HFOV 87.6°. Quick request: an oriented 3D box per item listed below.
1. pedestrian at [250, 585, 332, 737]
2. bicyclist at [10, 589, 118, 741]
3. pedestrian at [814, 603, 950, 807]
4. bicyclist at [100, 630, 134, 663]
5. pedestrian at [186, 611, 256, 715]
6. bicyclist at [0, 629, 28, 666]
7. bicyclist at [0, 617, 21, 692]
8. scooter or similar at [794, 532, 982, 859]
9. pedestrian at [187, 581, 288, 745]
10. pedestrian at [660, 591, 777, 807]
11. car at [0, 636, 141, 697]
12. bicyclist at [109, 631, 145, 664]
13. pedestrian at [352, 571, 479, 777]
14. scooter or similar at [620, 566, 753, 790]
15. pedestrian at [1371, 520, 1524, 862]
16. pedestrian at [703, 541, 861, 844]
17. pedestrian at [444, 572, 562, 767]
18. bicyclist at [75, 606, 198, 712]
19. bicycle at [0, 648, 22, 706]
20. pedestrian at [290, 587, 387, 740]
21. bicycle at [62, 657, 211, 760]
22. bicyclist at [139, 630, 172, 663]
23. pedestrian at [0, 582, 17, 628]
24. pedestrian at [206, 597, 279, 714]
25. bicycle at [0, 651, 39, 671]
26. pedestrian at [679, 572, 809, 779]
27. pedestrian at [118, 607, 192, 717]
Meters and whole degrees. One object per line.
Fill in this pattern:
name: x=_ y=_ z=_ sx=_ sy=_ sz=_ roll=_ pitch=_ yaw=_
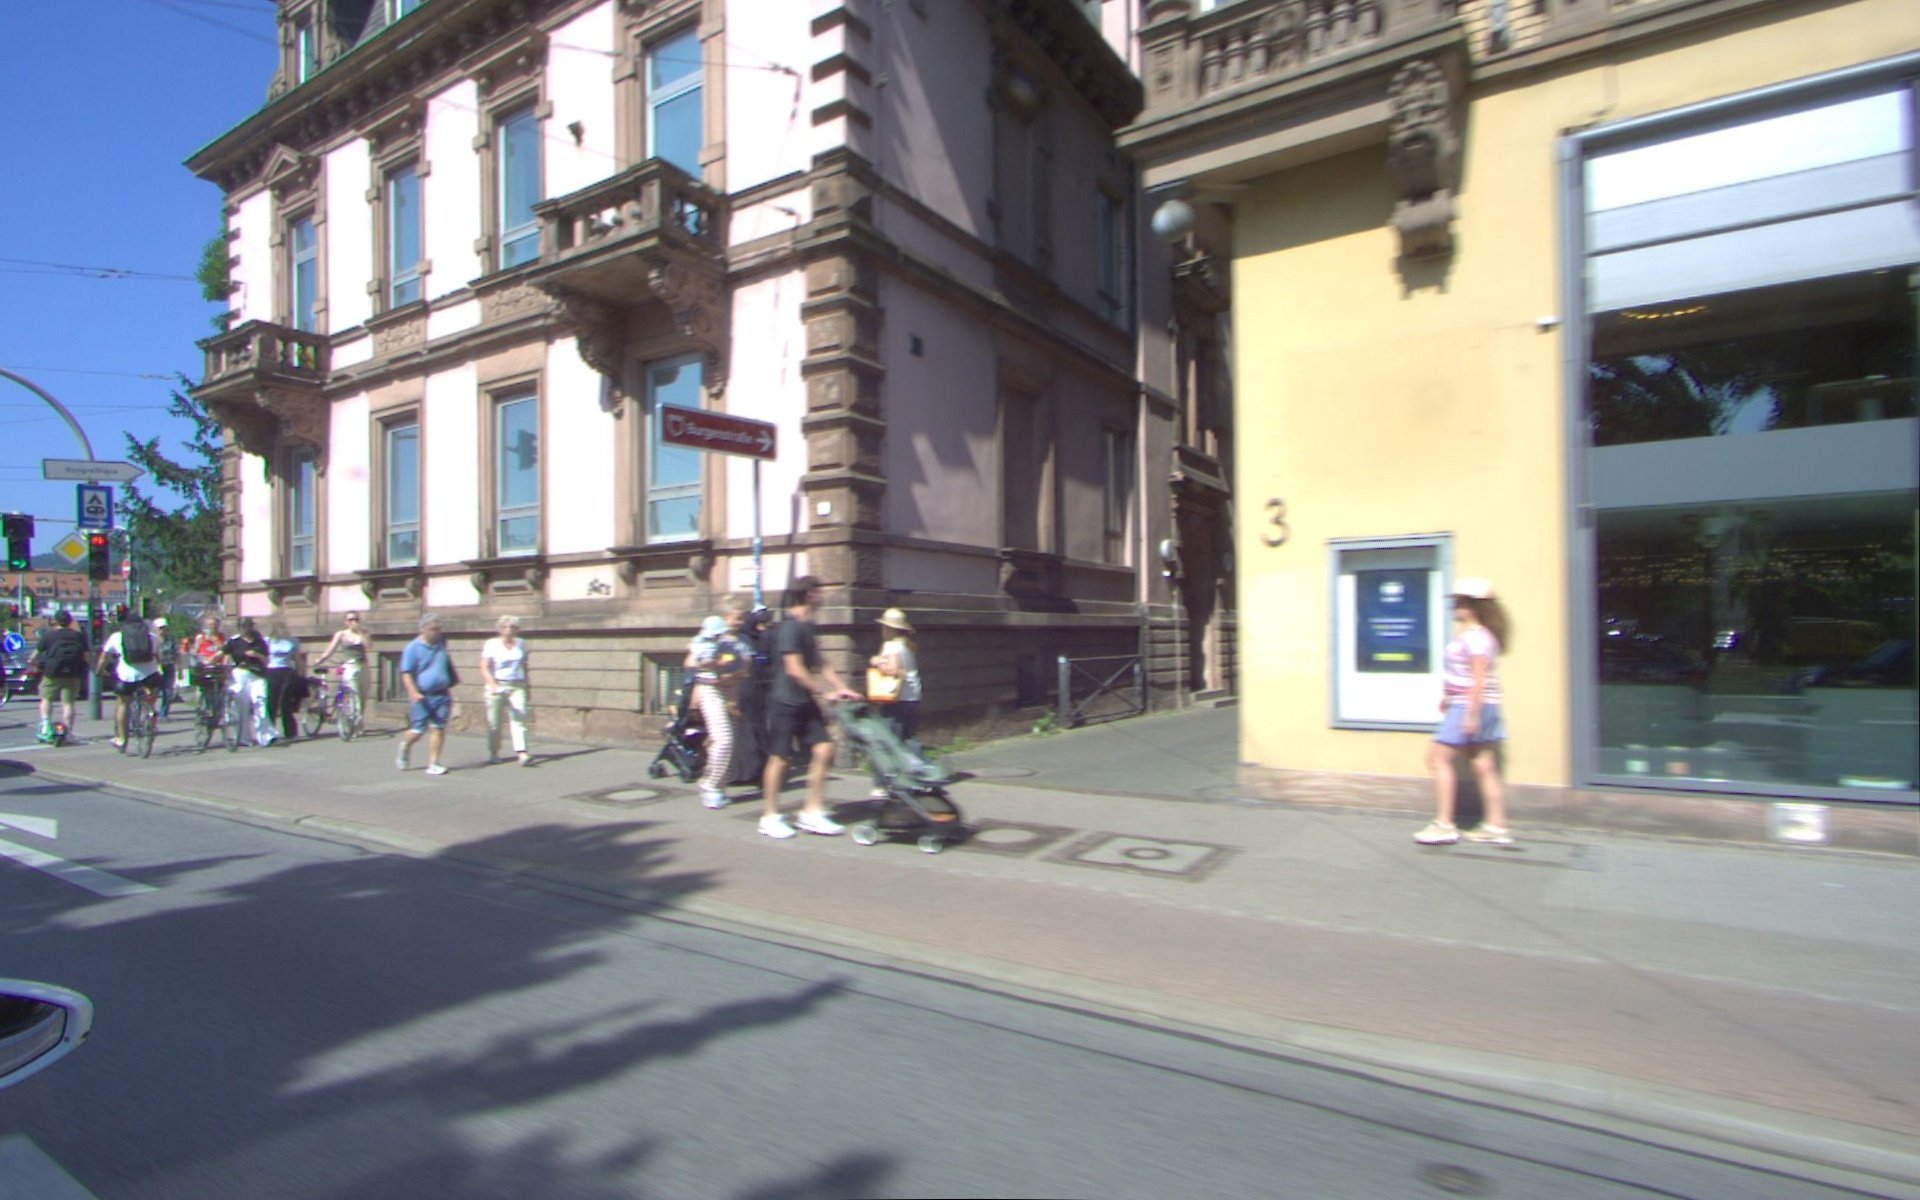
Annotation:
pedestrian: x=-9.305 y=0.824 z=13.938 sx=0.689 sy=2.041 sz=0.658 roll=0 pitch=2 yaw=32
bicyclist: x=-12.531 y=0.884 z=14.014 sx=0.818 sy=2.040 sz=0.940 roll=-1 pitch=0 yaw=32
pedestrian: x=-0.657 y=0.853 z=8.583 sx=0.803 sy=1.624 sz=0.810 roll=-1 pitch=2 yaw=32
bicyclist: x=-38.862 y=2.156 z=46.162 sx=0.918 sy=1.492 sz=1.074 roll=-1 pitch=-3 yaw=44
pedestrian: x=-13.022 y=1.100 z=17.643 sx=0.890 sy=1.775 sz=0.704 roll=-2 pitch=-1 yaw=31
bicyclist: x=-39.515 y=1.973 z=41.596 sx=0.791 sy=1.492 sz=1.075 roll=-1 pitch=-3 yaw=42
bicyclist: x=-20.546 y=1.157 z=21.277 sx=1.048 sy=1.573 sz=0.771 roll=-1 pitch=-1 yaw=41
scooter or similar: x=-0.491 y=0.609 z=6.823 sx=1.080 sy=2.040 sz=0.691 roll=-1 pitch=0 yaw=32
pedestrian: x=-9.360 y=0.795 z=12.984 sx=0.803 sy=2.040 sz=0.810 roll=-1 pitch=0 yaw=32
pedestrian: x=-2.026 y=0.801 z=8.411 sx=0.620 sy=1.716 sz=0.703 roll=-2 pitch=-1 yaw=35
car: x=-23.696 y=1.699 z=26.096 sx=1.963 sy=1.454 sz=3.999 roll=1 pitch=-3 yaw=-12
bicyclist: x=-38.103 y=2.163 z=45.810 sx=1.068 sy=1.492 sz=0.758 roll=2 pitch=-2 yaw=-29
pedestrian: x=-5.672 y=0.729 z=10.452 sx=0.803 sy=2.041 sz=0.810 roll=-1 pitch=2 yaw=32
scooter or similar: x=-2.649 y=0.723 z=9.697 sx=1.080 sy=2.040 sz=0.691 roll=-1 pitch=0 yaw=32
pedestrian: x=3.179 y=0.542 z=6.507 sx=0.803 sy=2.041 sz=0.810 roll=-1 pitch=2 yaw=32
pedestrian: x=-1.283 y=0.635 z=7.289 sx=0.803 sy=2.040 sz=0.810 roll=-1 pitch=-1 yaw=32
pedestrian: x=-5.007 y=0.724 z=10.997 sx=0.803 sy=2.041 sz=0.810 roll=-1 pitch=2 yaw=32
bicyclist: x=-10.131 y=0.698 z=12.326 sx=0.958 sy=1.235 sz=0.919 roll=-1 pitch=-1 yaw=32
bicycle: x=-20.684 y=1.616 z=21.370 sx=2.221 sy=1.179 sz=0.613 roll=-1 pitch=-2 yaw=38
pedestrian: x=-8.673 y=0.855 z=13.983 sx=0.803 sy=2.041 sz=0.810 roll=-1 pitch=2 yaw=32
bicycle: x=-10.154 y=1.292 z=12.330 sx=2.107 sy=1.117 sz=0.777 roll=-1 pitch=-1 yaw=31
bicyclist: x=-37.590 y=2.179 z=46.777 sx=1.073 sy=1.492 sz=0.919 roll=3 pitch=-3 yaw=-44
pedestrian: x=-40.224 y=0.216 z=42.082 sx=0.637 sy=1.879 sz=0.770 roll=0 pitch=-2 yaw=40
pedestrian: x=-12.040 y=0.924 z=16.810 sx=0.890 sy=1.915 sz=0.634 roll=0 pitch=-3 yaw=31
bicycle: x=-39.576 y=2.534 z=41.538 sx=0.559 sy=0.837 sz=1.930 roll=-1 pitch=-3 yaw=42
pedestrian: x=-2.007 y=0.662 z=9.347 sx=0.803 sy=1.817 sz=0.810 roll=-1 pitch=2 yaw=32
pedestrian: x=-13.509 y=1.018 z=16.808 sx=0.890 sy=1.792 sz=0.704 roll=-1 pitch=-1 yaw=31
